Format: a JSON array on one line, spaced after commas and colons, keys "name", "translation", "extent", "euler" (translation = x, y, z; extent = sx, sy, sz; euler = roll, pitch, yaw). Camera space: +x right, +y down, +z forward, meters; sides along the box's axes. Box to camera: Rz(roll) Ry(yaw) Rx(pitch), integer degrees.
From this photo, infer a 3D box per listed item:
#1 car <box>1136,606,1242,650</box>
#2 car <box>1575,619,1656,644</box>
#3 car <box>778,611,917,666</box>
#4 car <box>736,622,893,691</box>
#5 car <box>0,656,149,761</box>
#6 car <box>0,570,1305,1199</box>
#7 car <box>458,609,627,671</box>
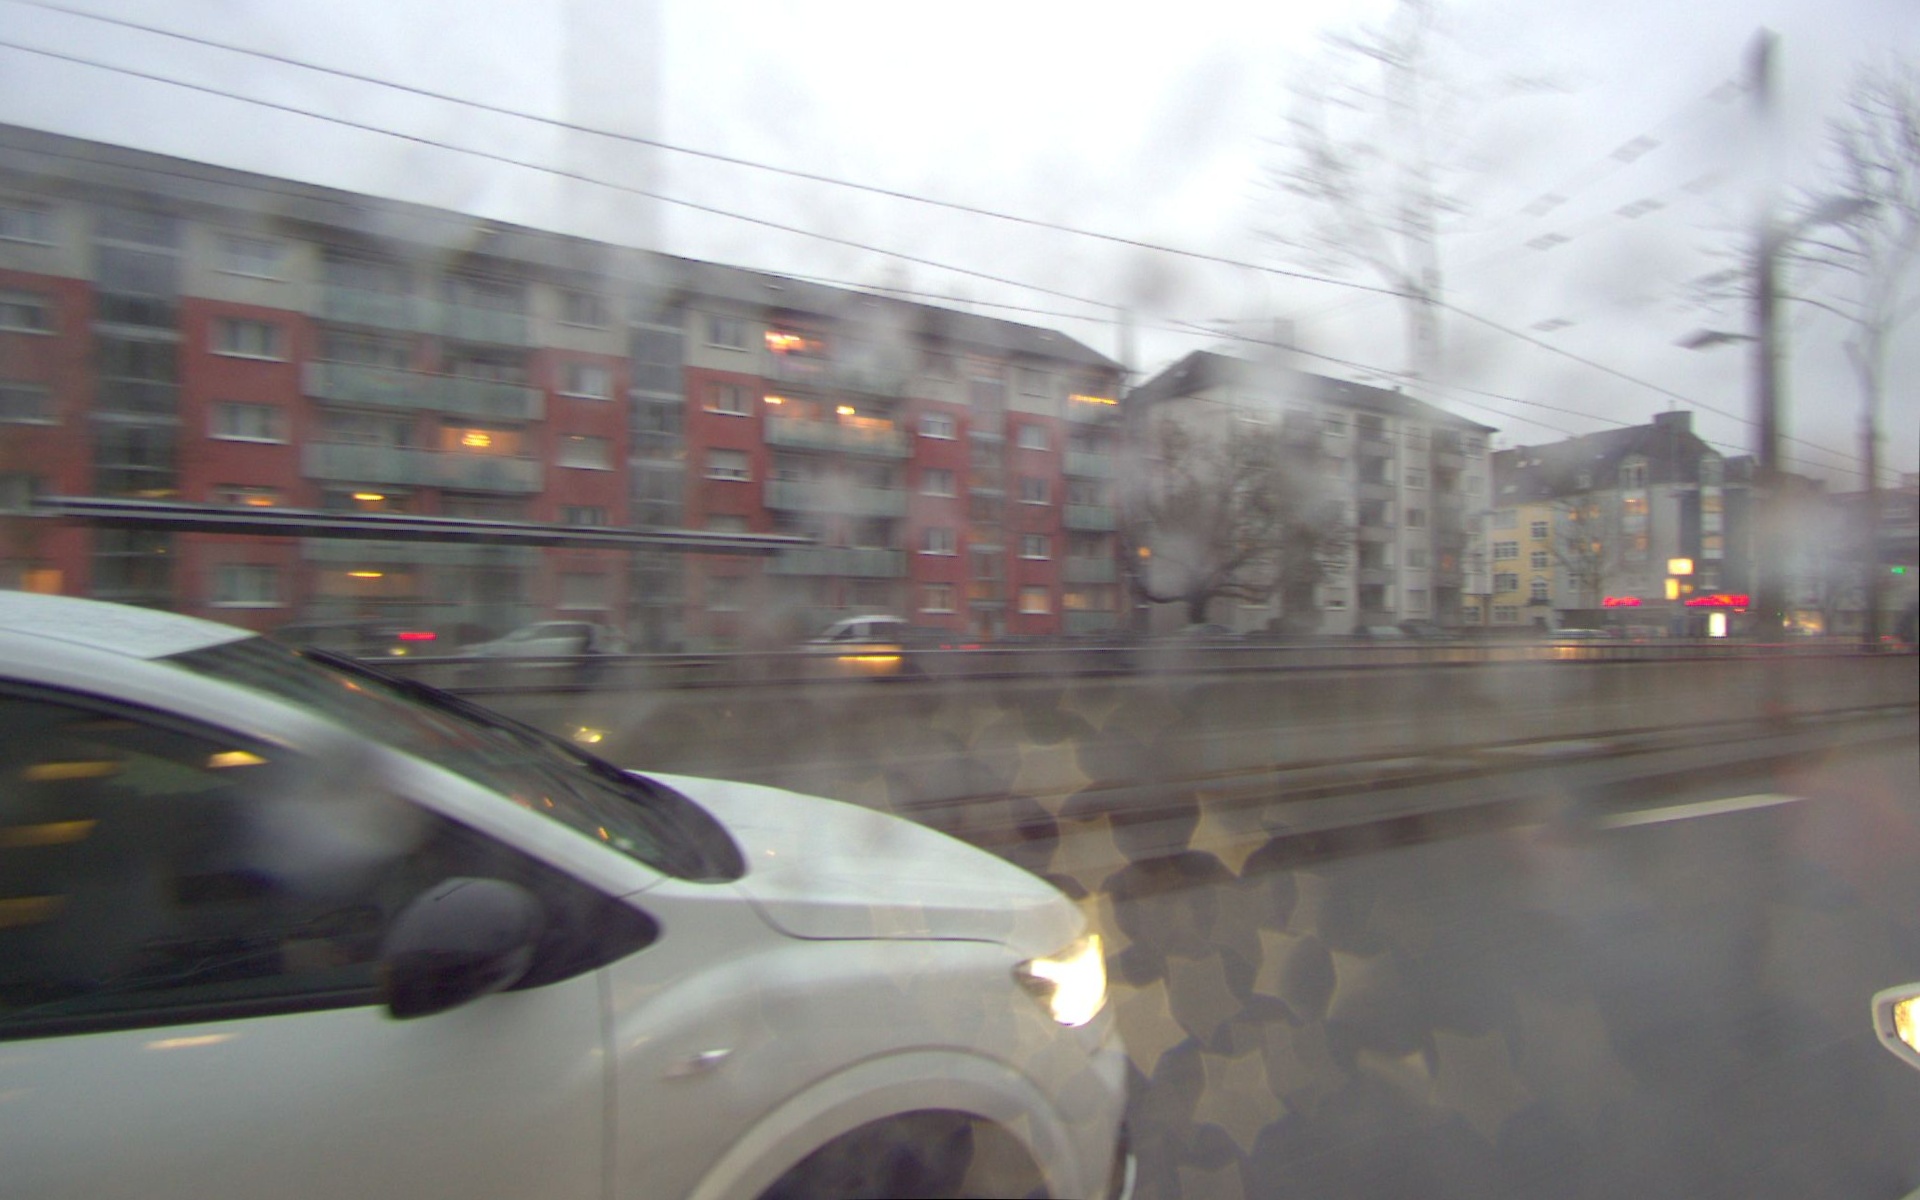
[{"name": "car", "translation": [9.286, 1.146, 40.686], "extent": [4.102, 1.667, 1.717], "euler": [2, -1, -30]}, {"name": "car", "translation": [39.570, 1.896, 60.674], "extent": [1.682, 1.384, 3.771], "euler": [2, -1, -36]}, {"name": "car", "translation": [-3.608, 1.254, 32.457], "extent": [4.102, 1.667, 1.717], "euler": [2, -1, -30]}, {"name": "car", "translation": [-3.379, 1.288, 23.318], "extent": [3.200, 1.454, 1.679], "euler": [2, -1, -31]}, {"name": "car", "translation": [-17.665, 1.972, 18.550], "extent": [3.957, 1.782, 1.681], "euler": [2, -1, -33]}, {"name": "car", "translation": [-1.421, 0.707, 1.797], "extent": [3.954, 1.485, 1.699], "euler": [2, -1, -31]}, {"name": "car", "translation": [-11.314, 1.090, 27.330], "extent": [4.095, 1.564, 1.719], "euler": [2, -1, -26]}]
